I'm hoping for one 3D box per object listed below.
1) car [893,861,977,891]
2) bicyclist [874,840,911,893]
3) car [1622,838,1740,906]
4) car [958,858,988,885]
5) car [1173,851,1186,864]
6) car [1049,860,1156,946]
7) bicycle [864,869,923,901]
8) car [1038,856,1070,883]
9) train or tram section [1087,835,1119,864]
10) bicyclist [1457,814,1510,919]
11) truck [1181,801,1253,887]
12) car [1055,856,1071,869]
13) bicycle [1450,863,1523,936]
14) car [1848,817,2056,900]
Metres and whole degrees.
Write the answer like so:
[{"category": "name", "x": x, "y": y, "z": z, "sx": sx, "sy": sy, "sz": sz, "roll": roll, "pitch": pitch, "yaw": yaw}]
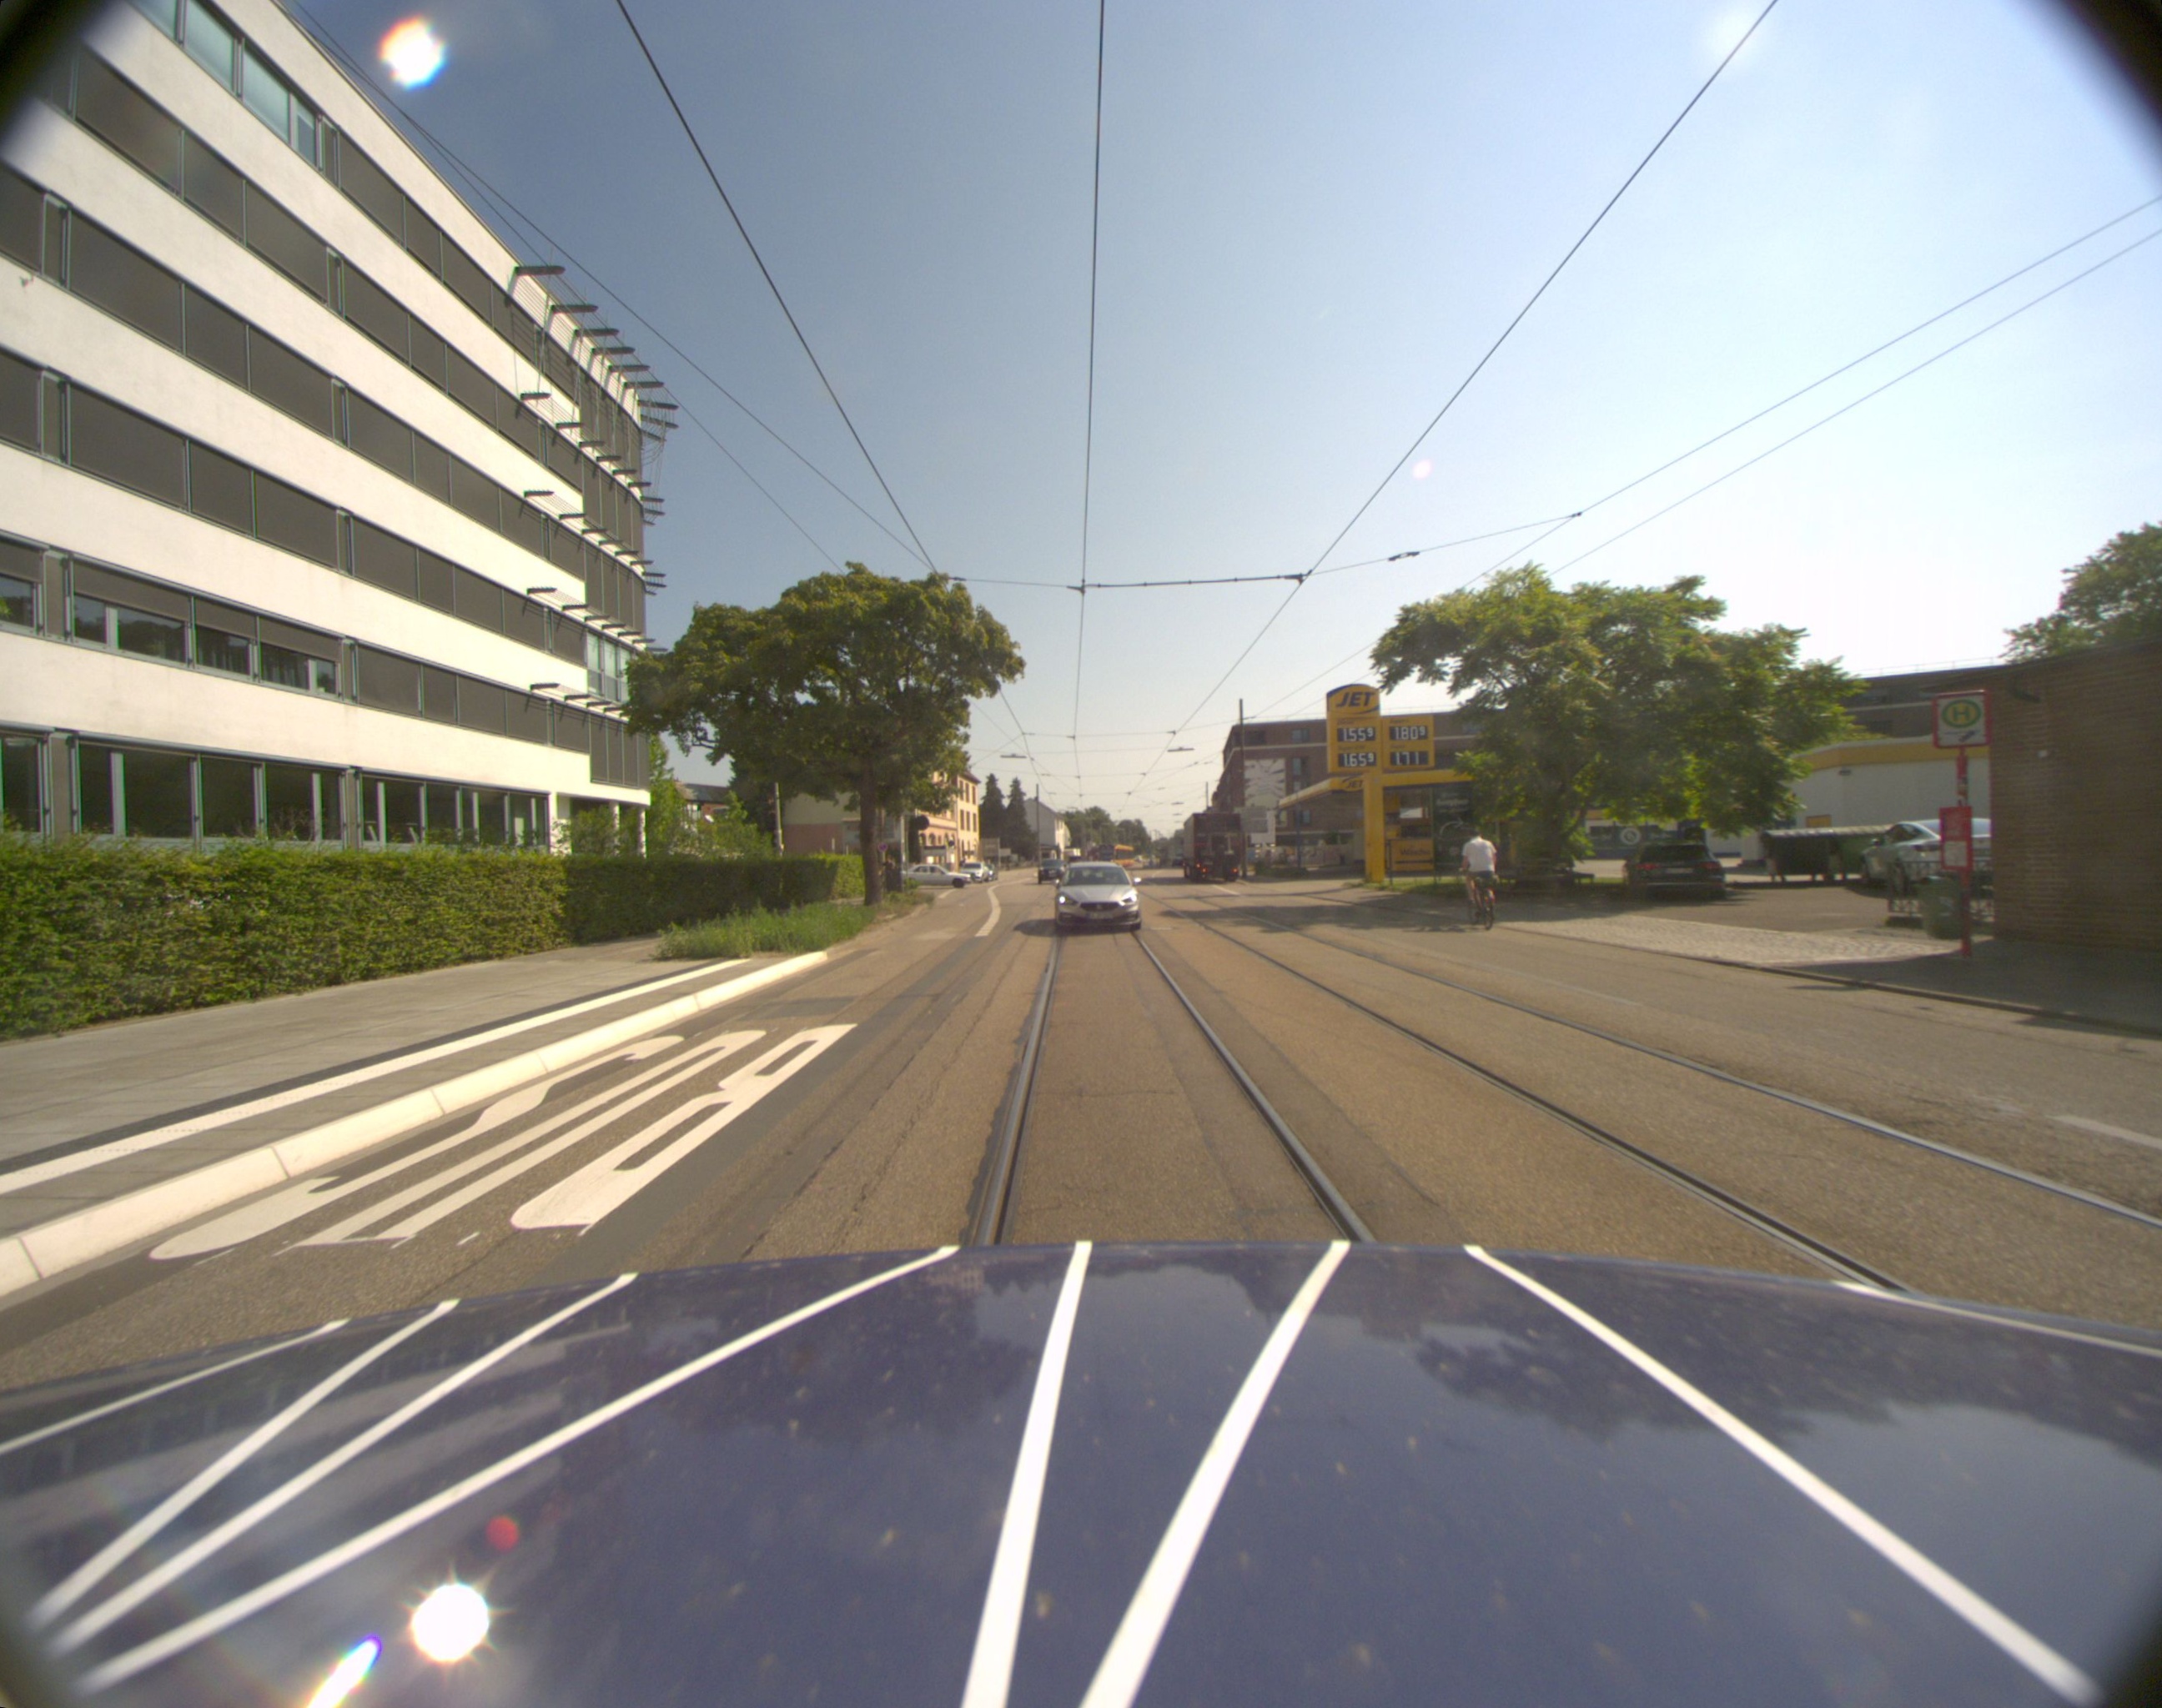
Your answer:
[{"category": "car", "x": -8.340, "y": 1.238, "z": 43.788, "sx": 4.552, "sy": 1.506, "sz": 1.960, "roll": -2, "pitch": 0, "yaw": -5}, {"category": "bicyclist", "x": -7.352, "y": 0.465, "z": 29.681, "sx": 0.782, "sy": 2.002, "sz": 1.276, "roll": -2, "pitch": 1, "yaw": 14}, {"category": "car", "x": 14.750, "y": 0.386, "z": 18.920, "sx": 1.933, "sy": 1.452, "sz": 4.536, "roll": -2, "pitch": 0, "yaw": 34}, {"category": "car", "x": -8.184, "y": 1.301, "z": 57.814, "sx": 1.961, "sy": 1.910, "sz": 4.552, "roll": -2, "pitch": 0, "yaw": -5}, {"category": "car", "x": 13.857, "y": 0.442, "z": 106.856, "sx": 1.778, "sy": 1.657, "sz": 4.002, "roll": -2, "pitch": 0, "yaw": 6}, {"category": "car", "x": 0.380, "y": 0.919, "z": 16.229, "sx": 1.928, "sy": 1.465, "sz": 4.816, "roll": -1, "pitch": 0, "yaw": 0}, {"category": "bicycle", "x": -7.301, "y": 1.186, "z": 29.812, "sx": 1.137, "sy": 1.118, "sz": 2.539, "roll": -2, "pitch": 0, "yaw": 15}, {"category": "car", "x": -1.662, "y": 0.961, "z": 48.211, "sx": 1.834, "sy": 1.543, "sz": 4.032, "roll": -2, "pitch": 0, "yaw": 0}, {"category": "train or tram section", "x": 3.288, "y": -0.683, "z": 111.554, "sx": 4.111, "sy": 3.711, "sz": 24.379, "roll": -2, "pitch": 0, "yaw": 2}, {"category": "bicyclist", "x": 7.633, "y": 0.227, "z": 14.444, "sx": 0.642, "sy": 1.918, "sz": 1.177, "roll": -2, "pitch": 1, "yaw": 17}, {"category": "truck", "x": 8.283, "y": -0.598, "z": 48.486, "sx": 3.171, "sy": 4.427, "sz": 16.846, "roll": -2, "pitch": 0, "yaw": 6}, {"category": "car", "x": -2.291, "y": 1.026, "z": 96.598, "sx": 1.834, "sy": 1.543, "sz": 4.032, "roll": -2, "pitch": 0, "yaw": 0}, {"category": "bicycle", "x": 7.681, "y": 0.826, "z": 14.497, "sx": 0.787, "sy": 1.233, "sz": 2.036, "roll": -2, "pitch": 0, "yaw": 16}, {"category": "car", "x": 19.174, "y": 0.055, "z": 17.007, "sx": 1.933, "sy": 1.588, "sz": 4.536, "roll": -2, "pitch": 0, "yaw": 34}]
